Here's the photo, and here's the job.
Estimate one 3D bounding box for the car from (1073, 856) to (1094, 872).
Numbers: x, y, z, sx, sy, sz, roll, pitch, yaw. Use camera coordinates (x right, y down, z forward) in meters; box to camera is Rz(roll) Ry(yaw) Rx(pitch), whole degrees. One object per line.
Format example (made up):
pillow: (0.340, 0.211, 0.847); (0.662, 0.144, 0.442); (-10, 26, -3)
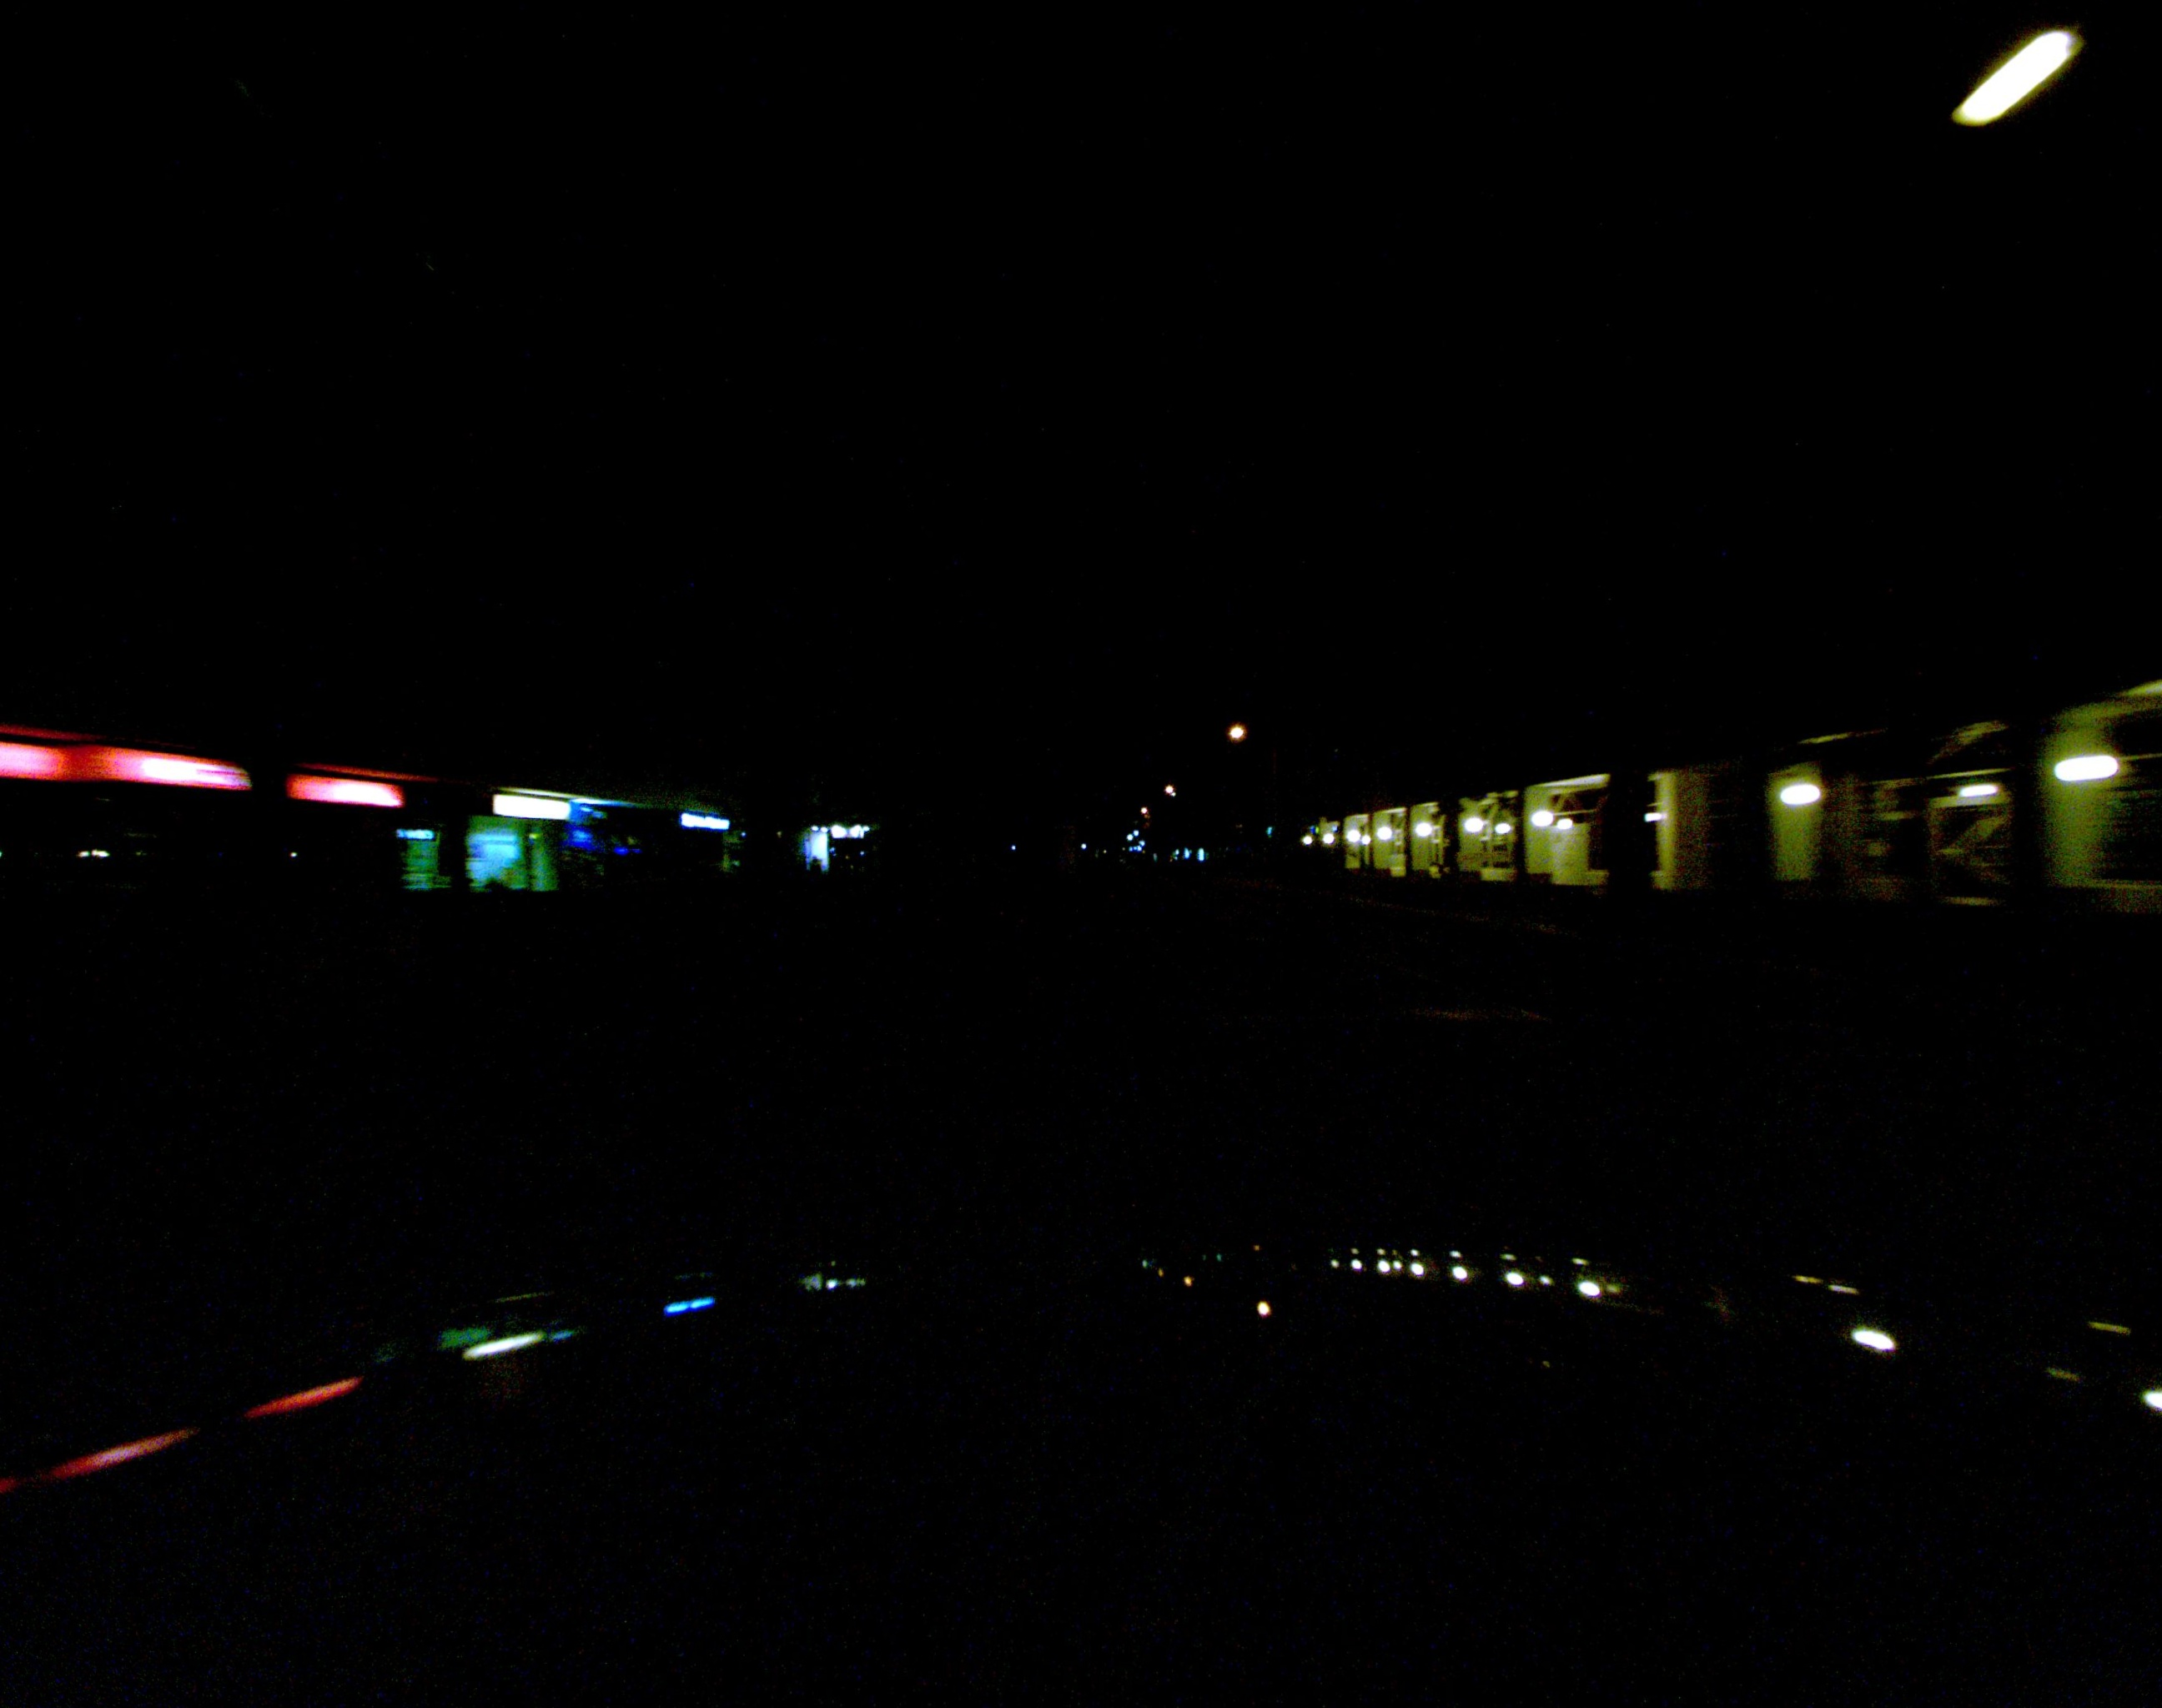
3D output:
car: (0.266, 0.917, 71.711); (1.768, 1.406, 4.808); (-1, 0, 2)

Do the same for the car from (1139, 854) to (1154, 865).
car: (8.521, 0.728, 99.351); (1.726, 1.420, 3.976); (-1, 0, 1)

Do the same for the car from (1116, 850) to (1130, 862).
car: (7.421, 0.311, 135.989); (1.858, 2.075, 5.088); (-1, 0, -4)

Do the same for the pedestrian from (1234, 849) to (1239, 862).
pedestrian: (18.480, 0.166, 90.115); (0.479, 1.627, 0.632); (-1, 1, 2)

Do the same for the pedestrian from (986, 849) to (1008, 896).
pedestrian: (-3.317, 0.723, 30.126); (0.704, 1.808, 1.082); (0, 1, 1)

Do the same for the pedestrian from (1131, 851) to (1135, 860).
pedestrian: (10.913, 0.357, 159.223); (0.719, 1.795, 0.716); (0, 1, 1)

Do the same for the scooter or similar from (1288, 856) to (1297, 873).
scooter or similar: (15.514, 0.752, 55.679); (0.388, 1.214, 1.344); (-1, 0, 4)

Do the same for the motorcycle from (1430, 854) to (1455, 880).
motorcycle: (14.710, 0.505, 30.945); (0.479, 1.014, 1.676); (-1, 0, 11)

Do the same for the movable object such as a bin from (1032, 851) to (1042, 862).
movable object such as a bin: (-5.691, 0.279, 98.110); (1.163, 1.363, 0.993); (-1, 1, -1)

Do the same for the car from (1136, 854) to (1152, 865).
car: (8.577, 0.758, 104.337); (1.811, 1.416, 4.921); (-3, 0, 1)

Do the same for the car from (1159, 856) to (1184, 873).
car: (7.863, 0.879, 66.418); (1.745, 1.405, 4.496); (-2, 0, 2)
